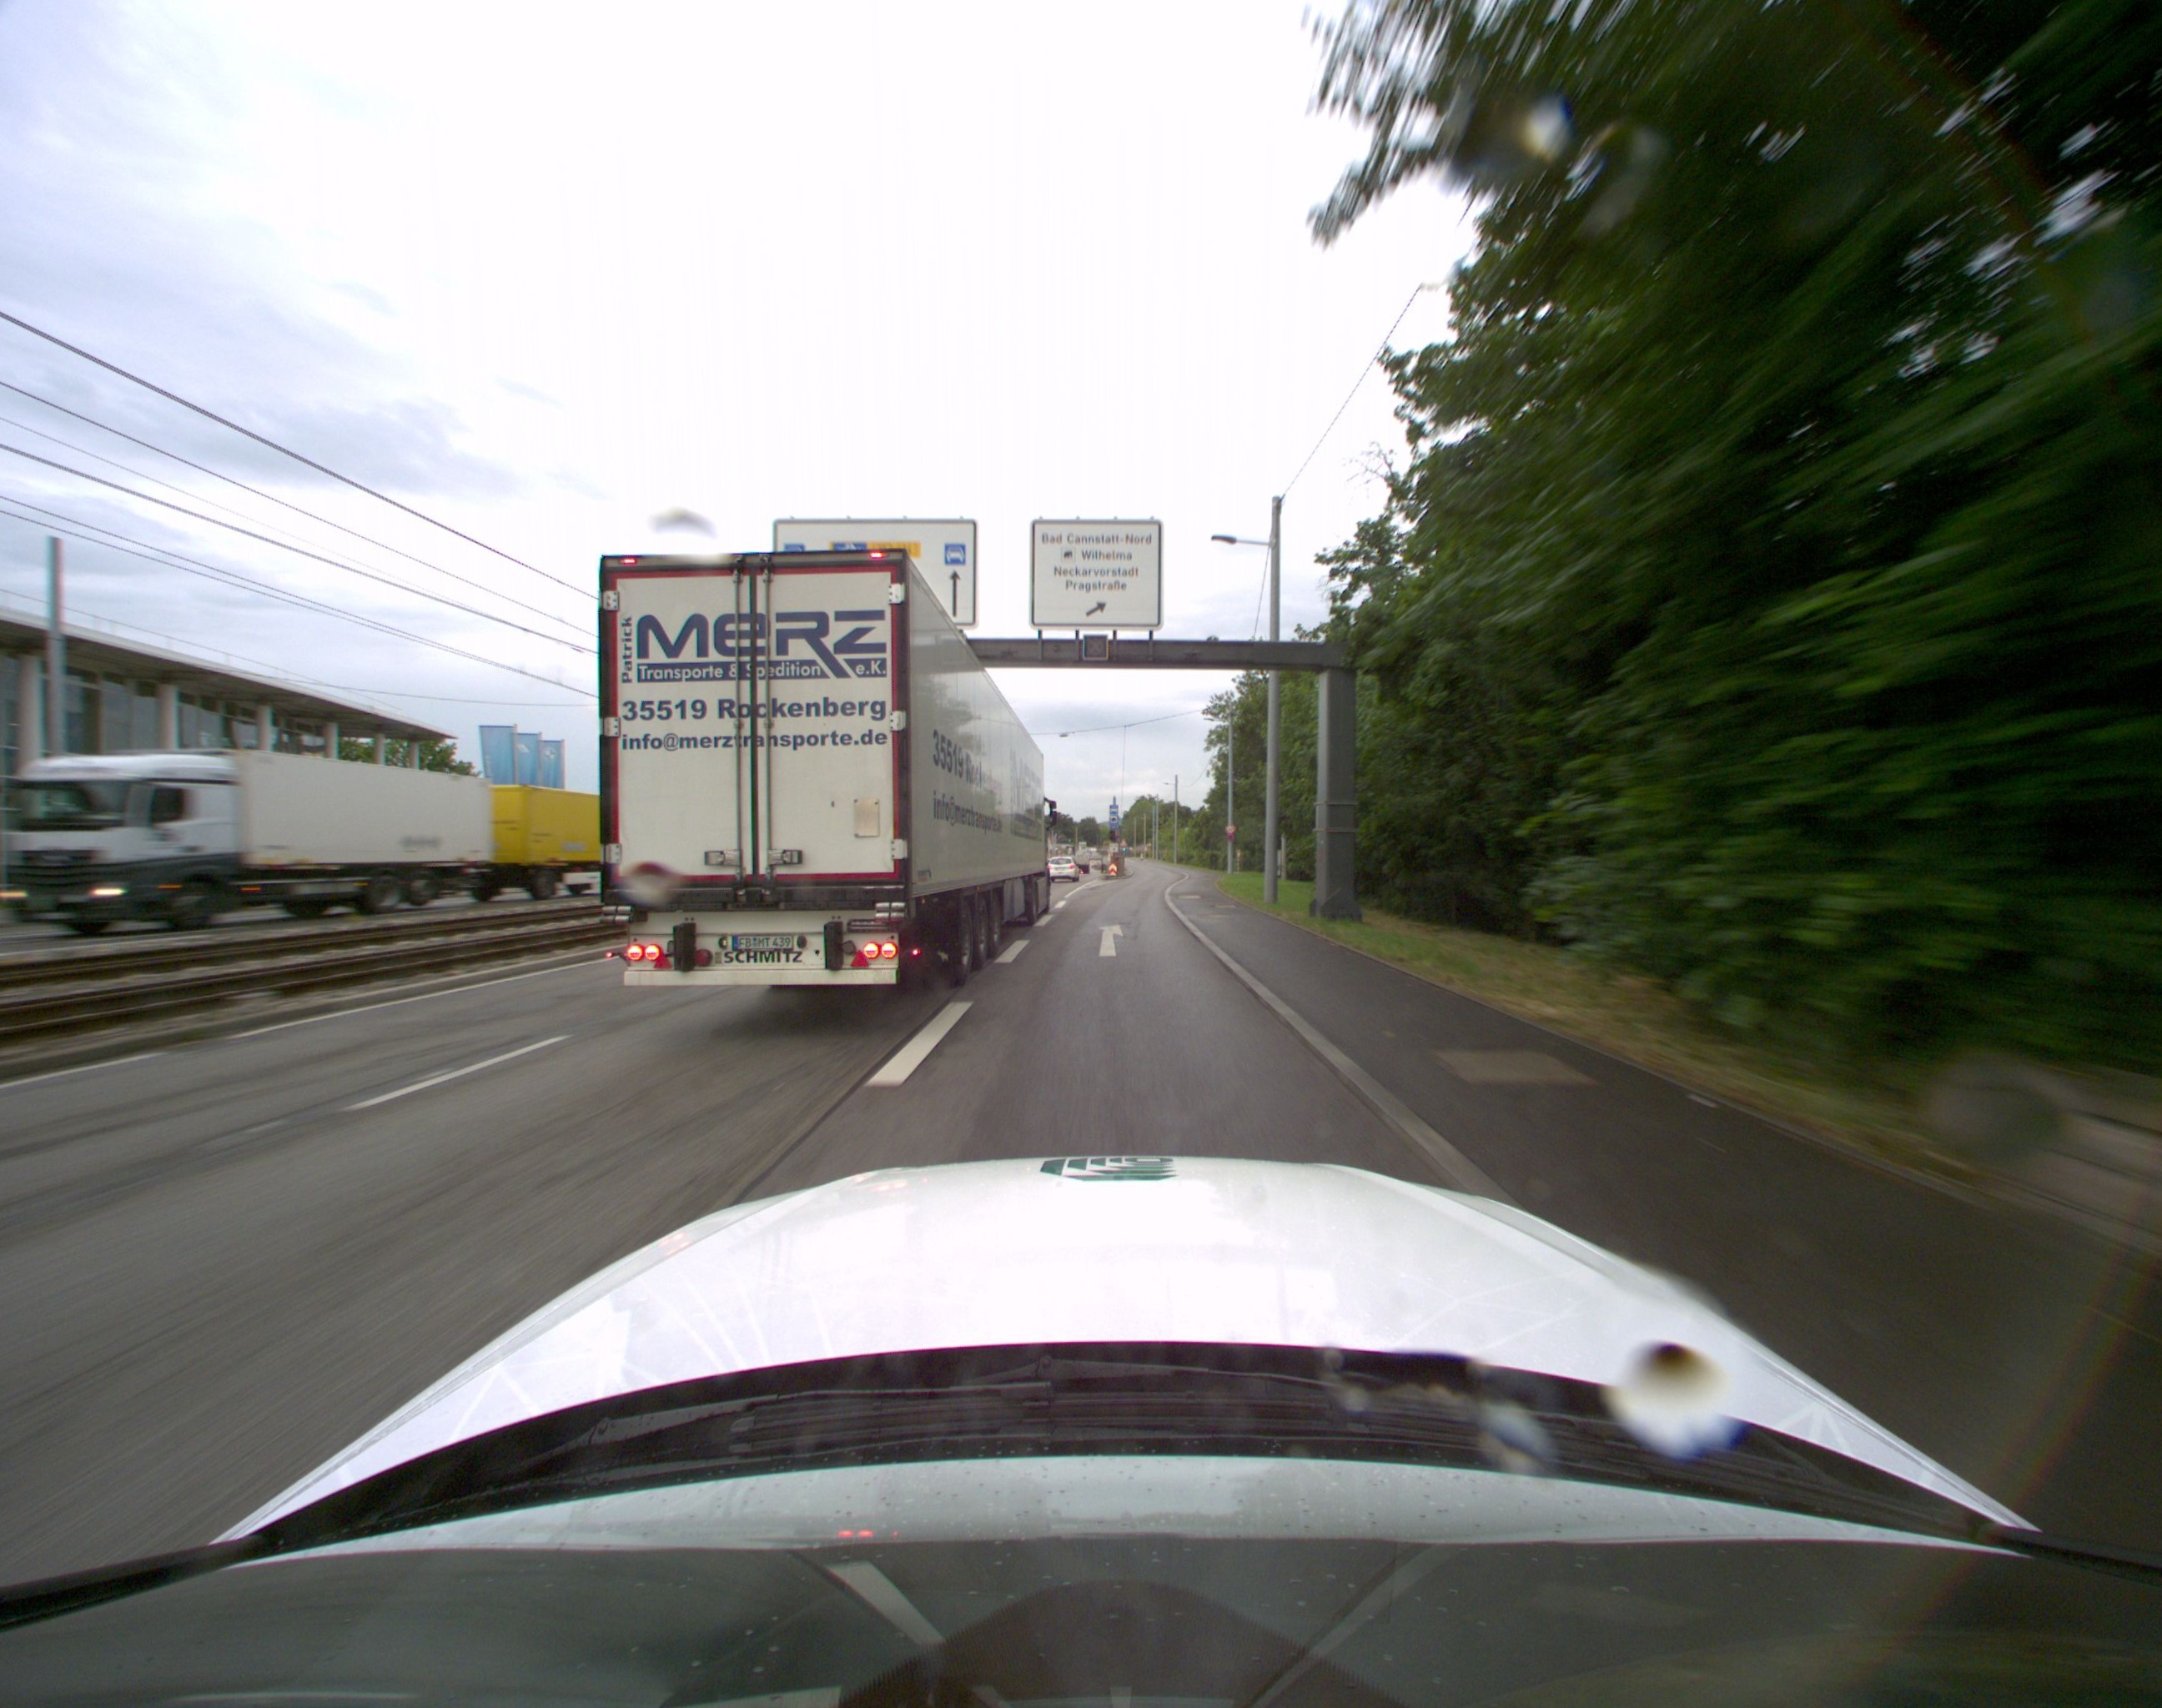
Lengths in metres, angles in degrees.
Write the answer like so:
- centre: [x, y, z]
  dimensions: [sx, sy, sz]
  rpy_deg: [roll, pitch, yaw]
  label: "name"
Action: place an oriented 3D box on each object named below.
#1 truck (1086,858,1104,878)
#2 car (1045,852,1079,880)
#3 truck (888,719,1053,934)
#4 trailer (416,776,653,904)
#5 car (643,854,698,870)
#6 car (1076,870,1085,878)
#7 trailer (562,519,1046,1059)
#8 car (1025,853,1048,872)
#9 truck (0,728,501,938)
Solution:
- centre: [3.001, 2.975, 170.443]
  dimensions: [3.506, 4.040, 8.076]
  rpy_deg: [-1, 0, 1]
  label: "truck"
- centre: [-1.095, 0.674, 47.755]
  dimensions: [1.803, 1.423, 4.001]
  rpy_deg: [-1, 2, 1]
  label: "car"
- centre: [-2.293, -0.559, 19.306]
  dimensions: [2.745, 4.205, 6.309]
  rpy_deg: [-1, 0, 2]
  label: "truck"
- centre: [-19.873, -0.441, 30.611]
  dimensions: [2.674, 4.051, 9.083]
  rpy_deg: [-1, 0, 1]
  label: "trailer"
- centre: [-32.560, 0.625, 64.640]
  dimensions: [3.499, 1.274, 1.719]
  rpy_deg: [0, 0, 5]
  label: "car"
- centre: [-0.083, 3.603, 147.591]
  dimensions: [1.421, 1.354, 2.961]
  rpy_deg: [0, 0, 1]
  label: "car"
- centre: [-2.510, -0.540, 13.113]
  dimensions: [2.752, 4.252, 13.190]
  rpy_deg: [-1, 0, 2]
  label: "trailer"
- centre: [-3.784, 0.710, 70.223]
  dimensions: [1.675, 1.446, 4.001]
  rpy_deg: [-1, 2, 1]
  label: "car"
- centre: [-19.961, -0.408, 20.951]
  dimensions: [2.674, 4.051, 10.143]
  rpy_deg: [-1, 0, 1]
  label: "truck"
